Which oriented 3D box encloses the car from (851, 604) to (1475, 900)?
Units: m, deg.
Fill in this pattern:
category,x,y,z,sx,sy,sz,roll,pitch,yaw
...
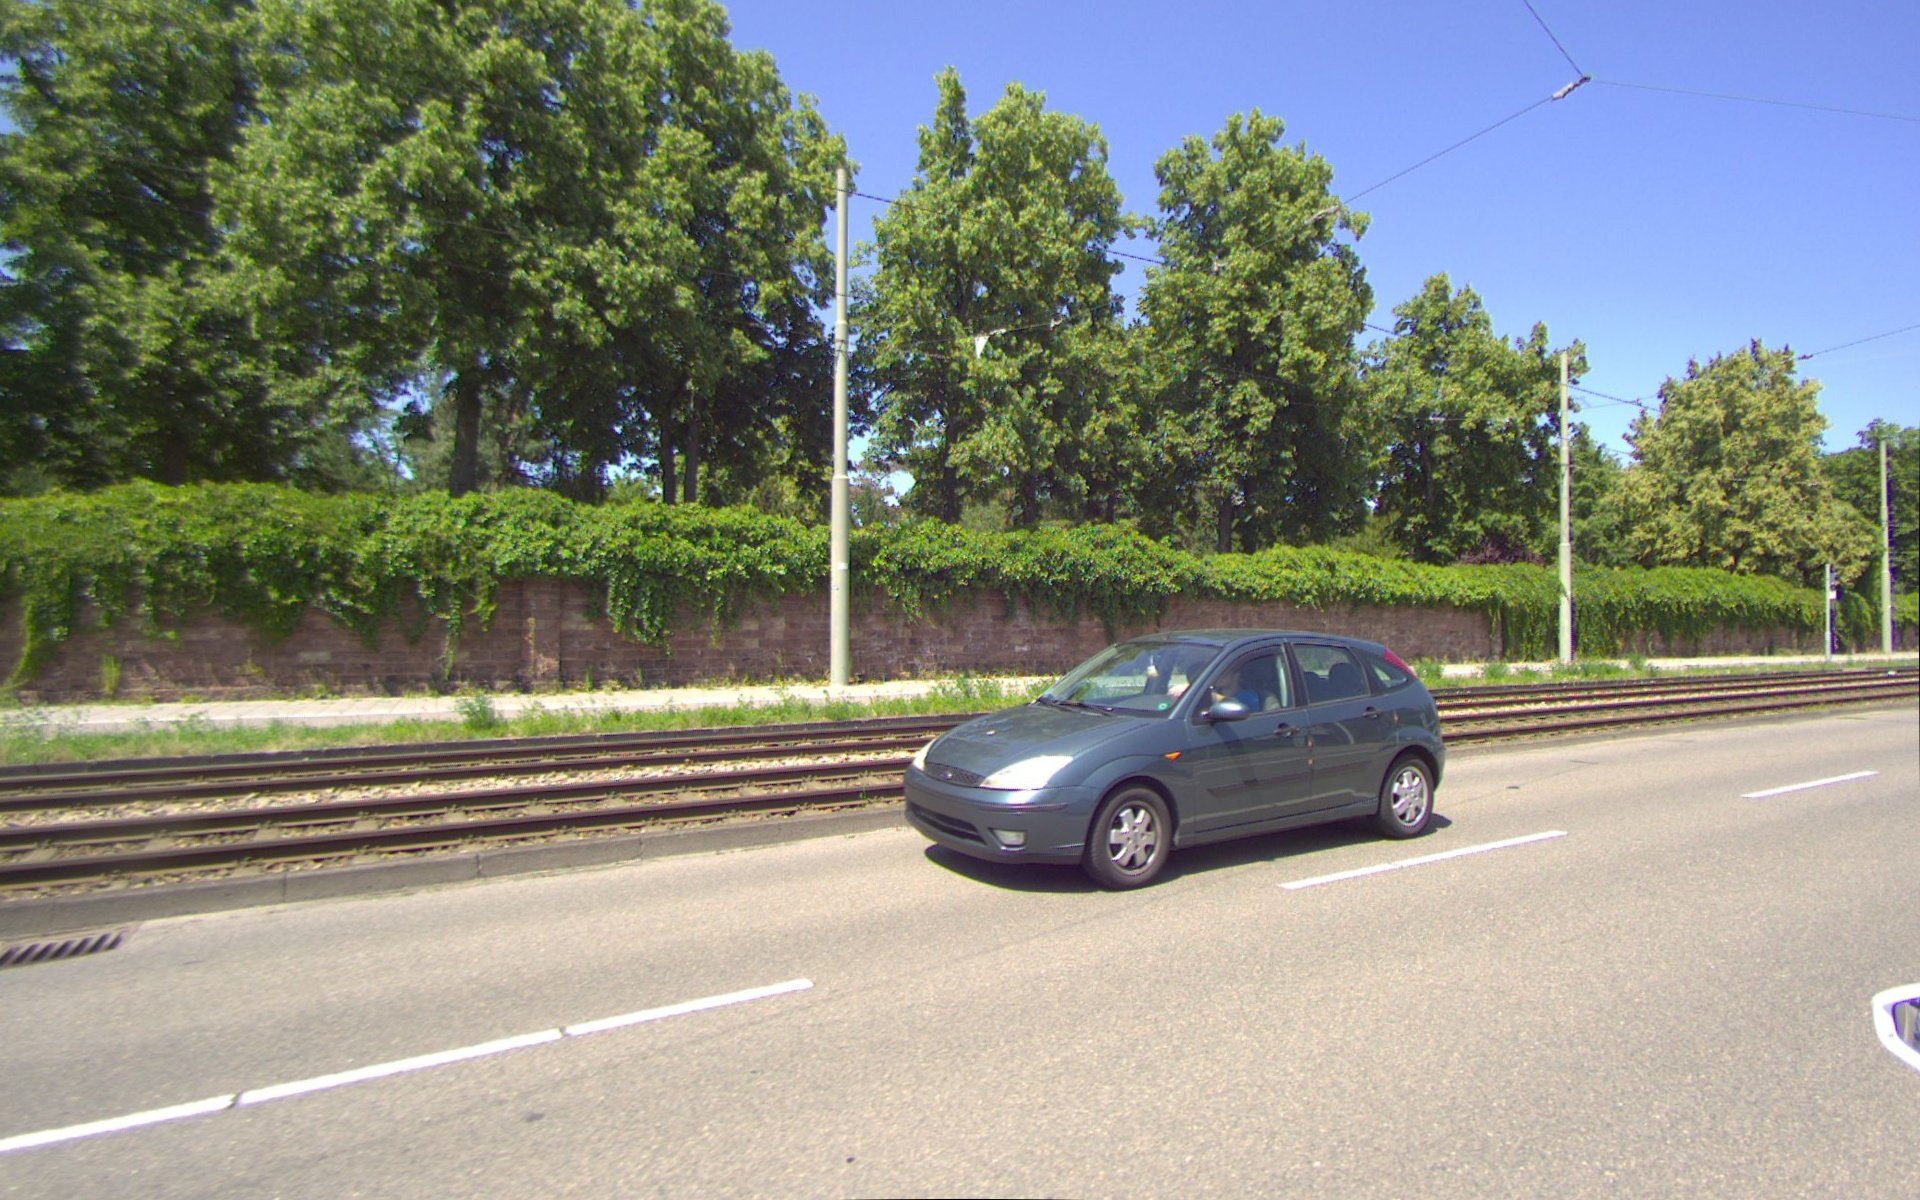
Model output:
category,x,y,z,sx,sy,sz,roll,pitch,yaw
car,1.538,0.861,7.083,4.275,1.529,1.747,1,-3,-32
